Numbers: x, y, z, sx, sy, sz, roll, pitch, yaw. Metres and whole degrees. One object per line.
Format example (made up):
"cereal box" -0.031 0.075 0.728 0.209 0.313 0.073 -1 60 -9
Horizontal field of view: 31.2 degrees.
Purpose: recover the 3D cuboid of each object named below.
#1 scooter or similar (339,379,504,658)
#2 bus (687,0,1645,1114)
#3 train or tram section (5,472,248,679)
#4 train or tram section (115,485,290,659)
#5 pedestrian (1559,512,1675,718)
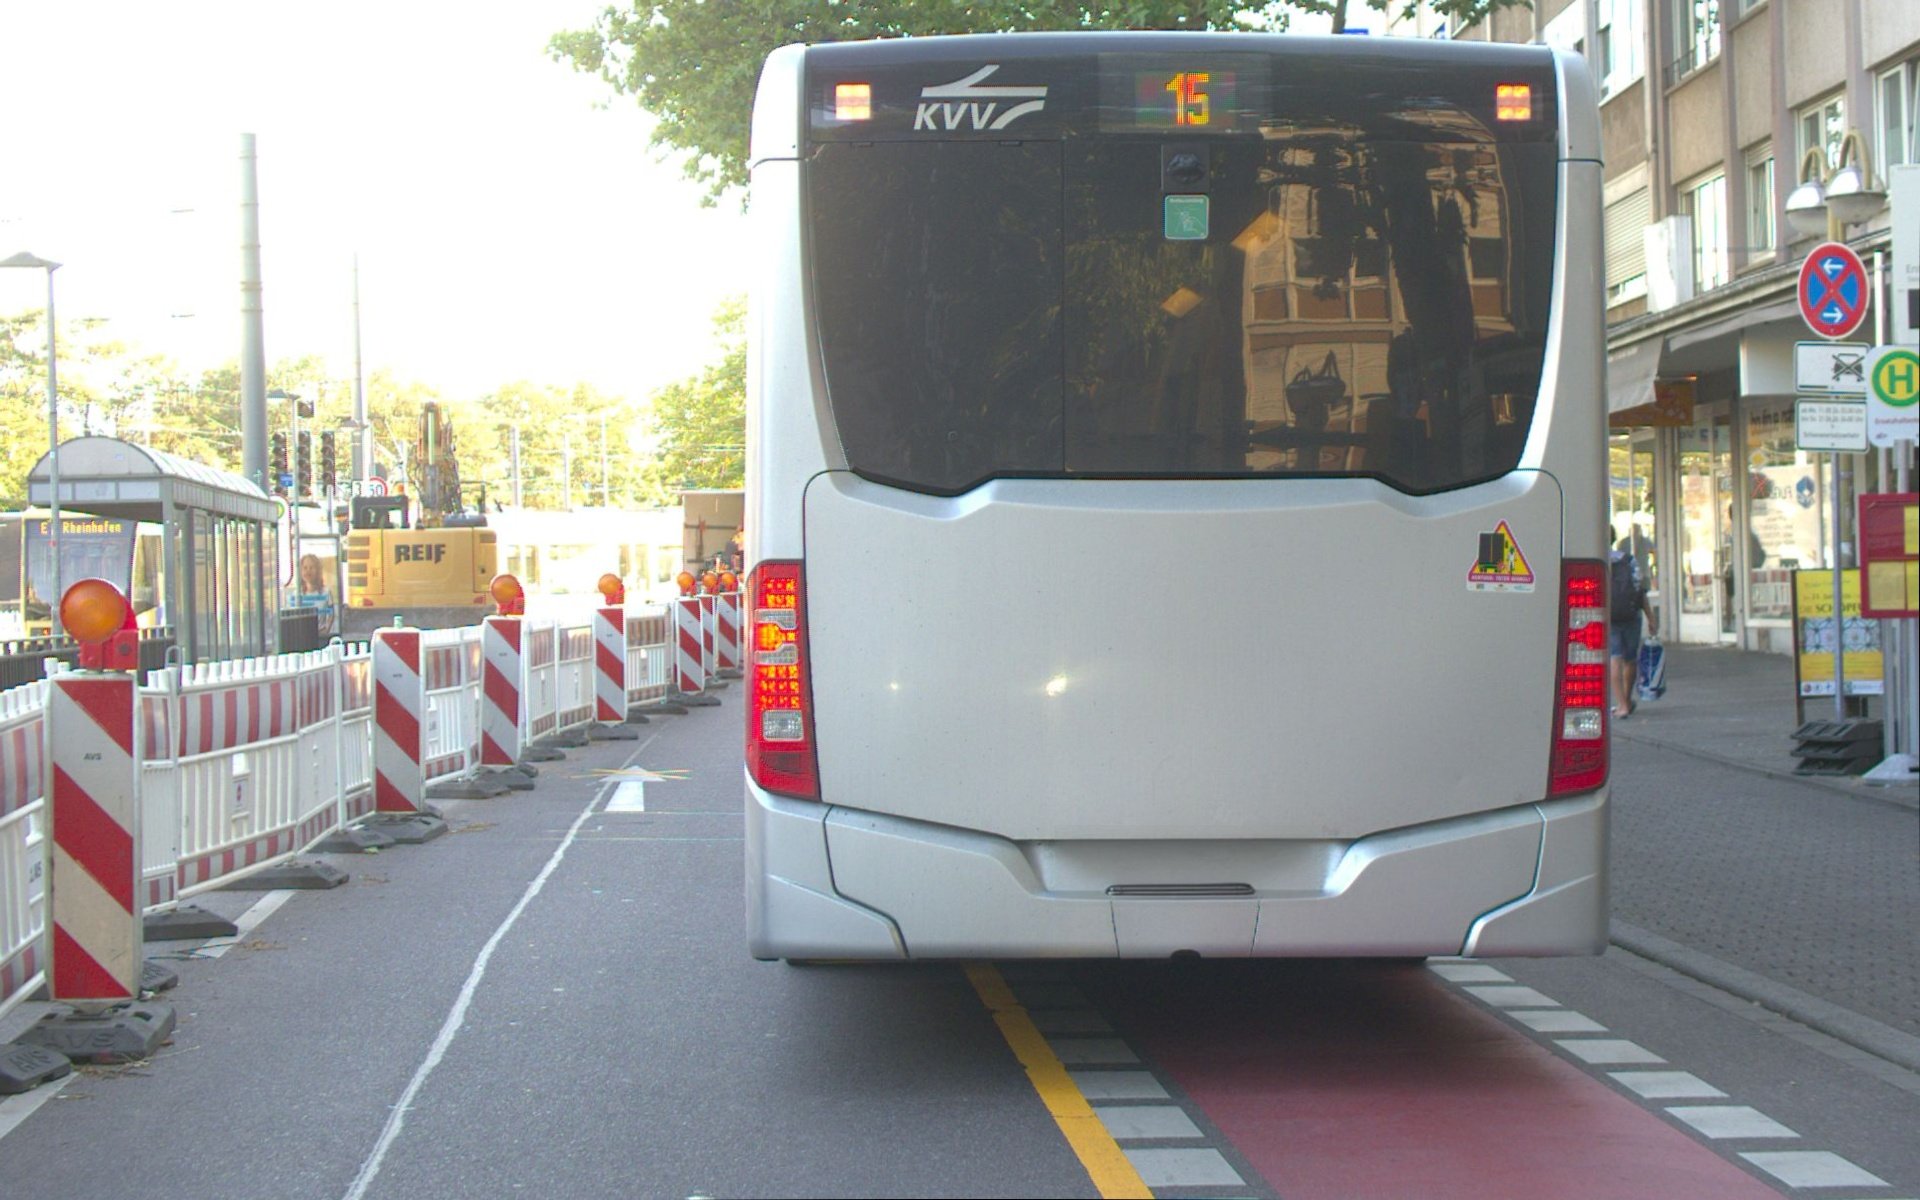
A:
"scooter or similar" -9.103 -1.341 58.592 2.468 4.455 5.974 -1 0 -7
"bus" 0.585 -0.182 13.476 2.611 3.115 7.993 1 0 0
"train or tram section" -15.423 -0.442 64.487 2.686 3.521 11.773 0 0 -5
"train or tram section" -16.611 -0.607 76.089 2.686 3.546 11.584 0 0 -7
"pedestrian" 5.480 0.118 28.664 0.878 1.685 0.619 -1 1 15
